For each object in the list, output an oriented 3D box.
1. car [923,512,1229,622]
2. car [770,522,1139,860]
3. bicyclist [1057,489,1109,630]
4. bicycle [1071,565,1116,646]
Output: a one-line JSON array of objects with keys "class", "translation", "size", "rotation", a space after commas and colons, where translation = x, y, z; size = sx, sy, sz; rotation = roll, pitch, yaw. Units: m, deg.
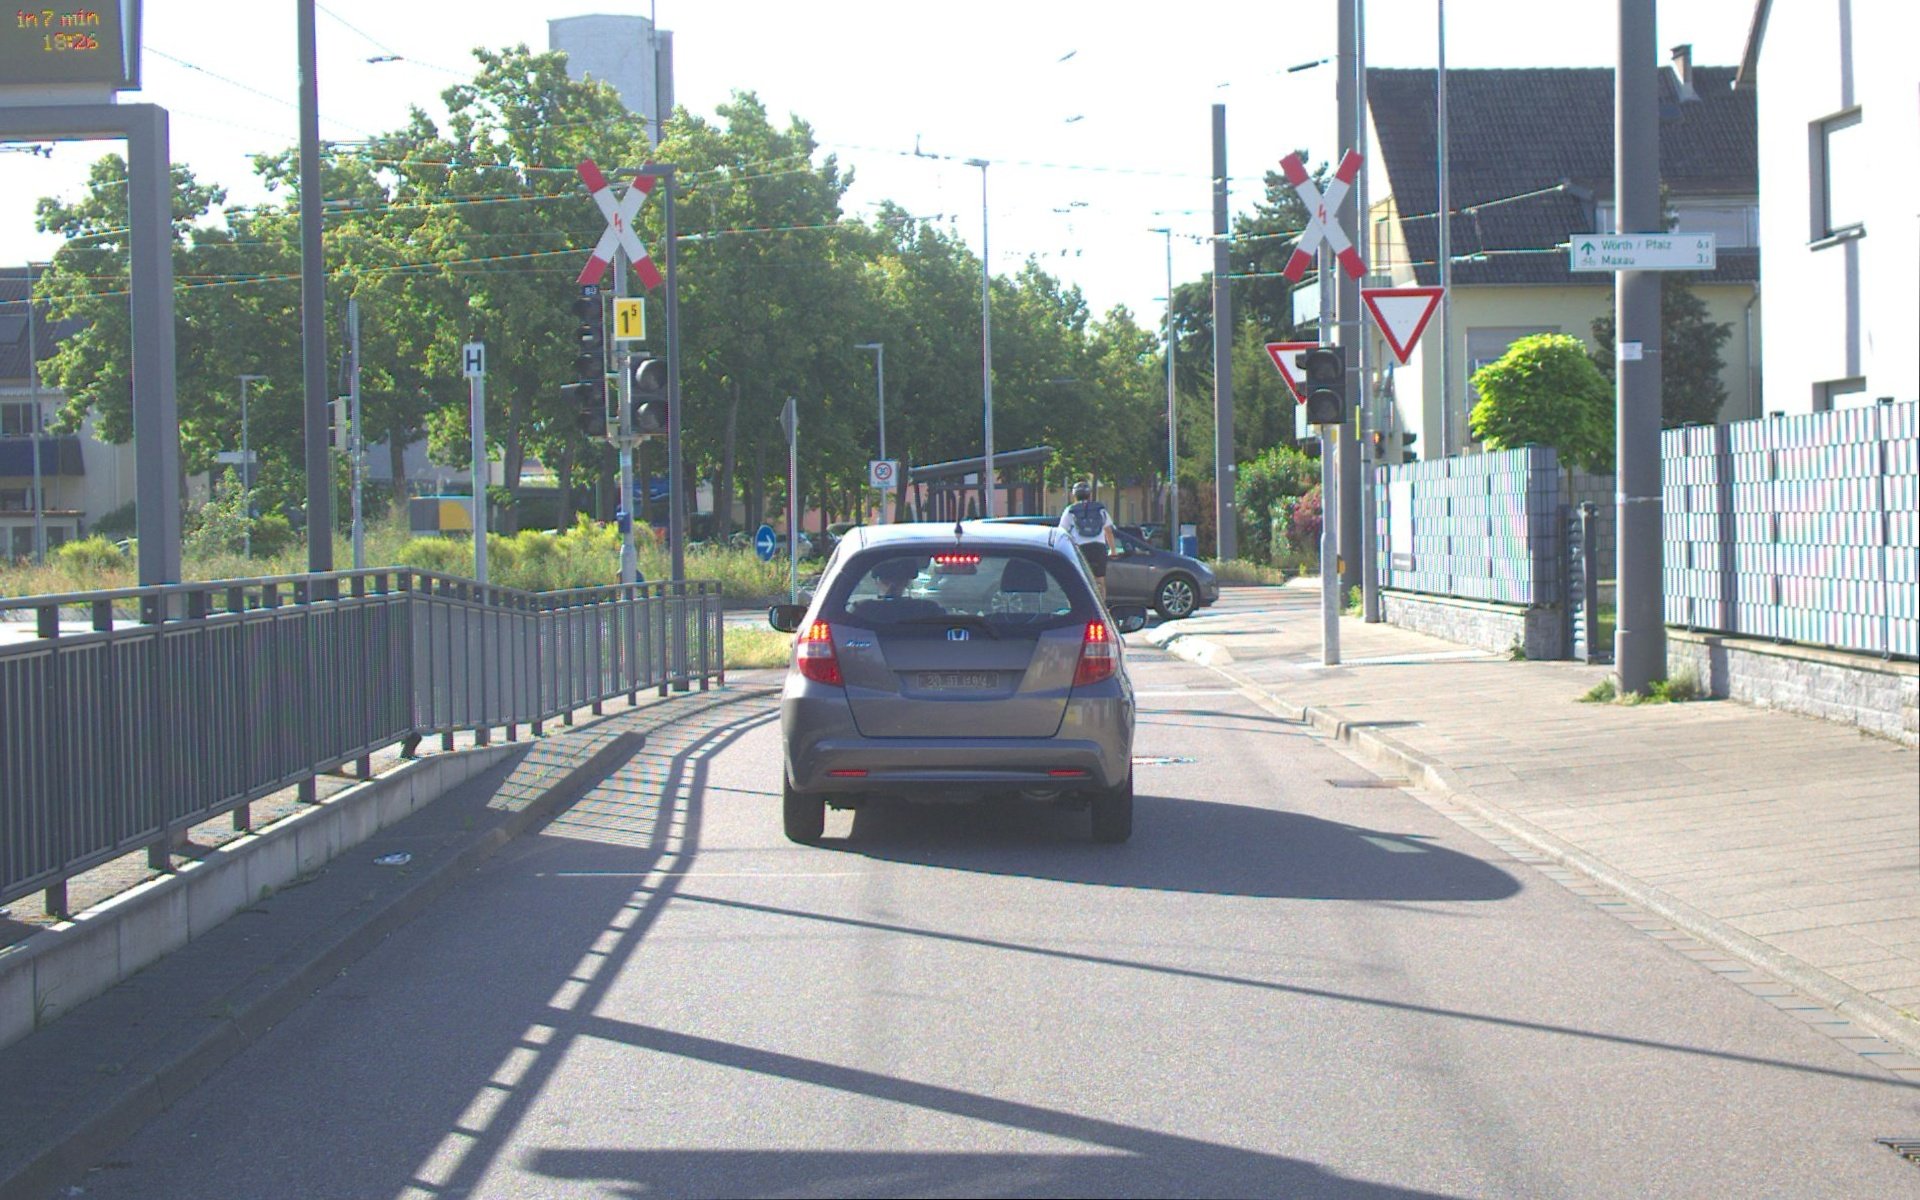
[{"class": "car", "translation": [1.656, -0.469, 49.260], "size": [3.986, 1.524, 1.808], "rotation": [0, 1, -19]}, {"class": "car", "translation": [-0.065, 0.377, 17.422], "size": [1.670, 1.530, 3.487], "rotation": [0, 1, -1]}, {"class": "bicyclist", "translation": [1.492, -0.488, 41.821], "size": [0.598, 1.695, 0.683], "rotation": [0, 1, 0]}, {"class": "bicycle", "translation": [1.626, 0.057, 42.025], "size": [0.475, 0.958, 1.657], "rotation": [0, 1, 0]}]
